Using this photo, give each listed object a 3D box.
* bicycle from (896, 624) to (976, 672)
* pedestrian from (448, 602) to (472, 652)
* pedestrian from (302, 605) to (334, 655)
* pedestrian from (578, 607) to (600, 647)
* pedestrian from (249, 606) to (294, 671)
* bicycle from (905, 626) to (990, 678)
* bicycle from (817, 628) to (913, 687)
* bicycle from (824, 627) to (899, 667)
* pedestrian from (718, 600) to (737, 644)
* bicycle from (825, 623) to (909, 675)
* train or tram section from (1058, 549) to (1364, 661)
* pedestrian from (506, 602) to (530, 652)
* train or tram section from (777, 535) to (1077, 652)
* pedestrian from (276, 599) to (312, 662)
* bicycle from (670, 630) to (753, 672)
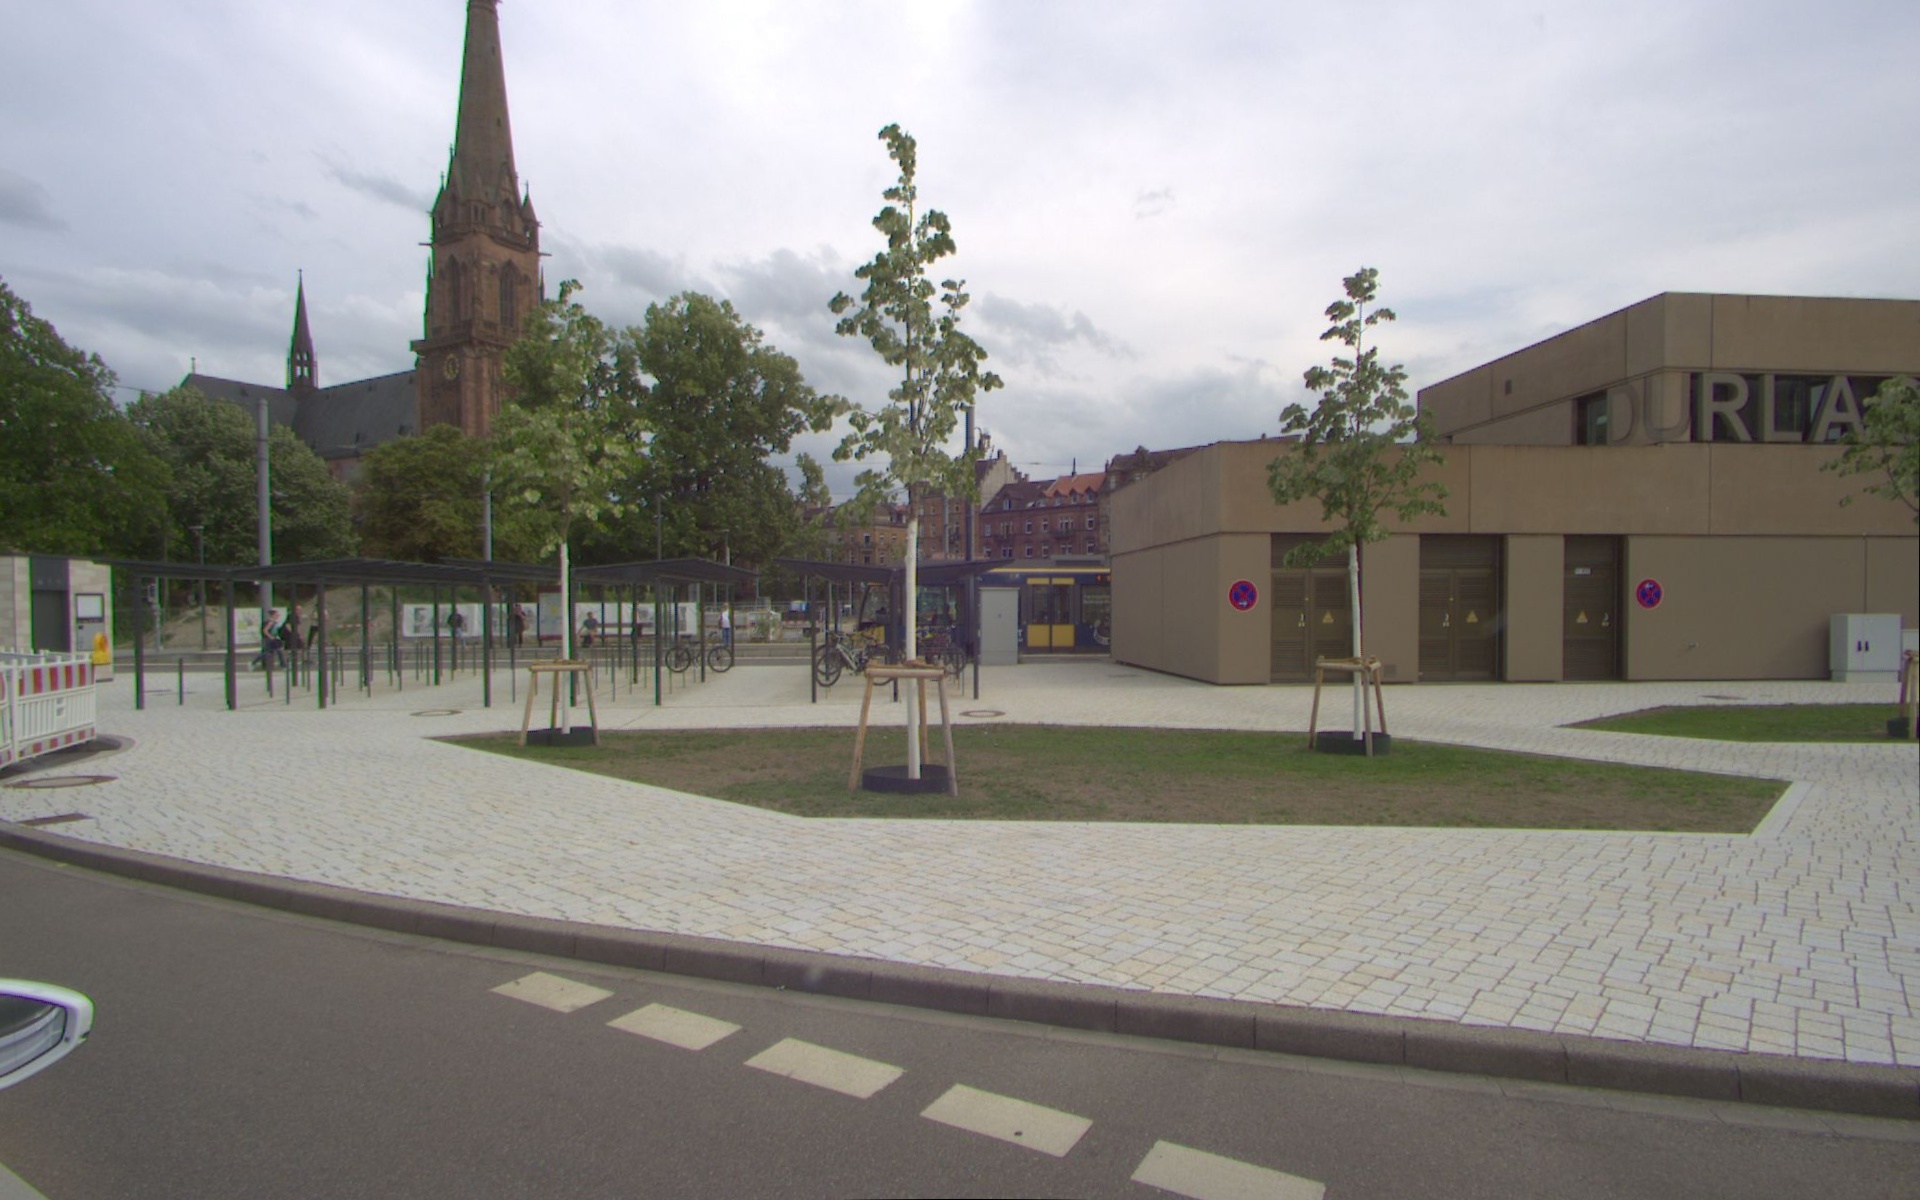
[{"bbox_3d":[-0.607,1.223,25.513,1.931,1.172,0.583,2,1,-13],"label":"bicycle"},{"bbox_3d":[-18.731,1.012,37.525,0.665,1.825,0.522,2,2,-11],"label":"pedestrian"},{"bbox_3d":[-23.960,1.116,37.386,0.743,1.825,0.817,3,2,42],"label":"pedestrian"},{"bbox_3d":[-14.103,1.024,38.061,0.665,1.505,0.689,2,1,-11],"label":"pedestrian"},{"bbox_3d":[-17.751,0.990,25.820,0.782,1.625,0.538,2,1,-5],"label":"pedestrian"},{"bbox_3d":[-0.304,1.249,24.090,1.931,1.172,0.583,2,1,-13],"label":"bicycle"},{"bbox_3d":[-2.016,1.220,21.248,1.931,1.172,0.583,2,1,-13],"label":"bicycle"},{"bbox_3d":[-2.593,1.239,26.421,1.929,0.983,0.583,2,1,-7],"label":"bicycle"},{"bbox_3d":[-9.159,0.868,39.465,0.665,1.701,0.709,2,1,-11],"label":"pedestrian"},{"bbox_3d":[-2.230,1.183,24.026,1.931,1.172,0.583,2,1,-13],"label":"bicycle"},{"bbox_3d":[8.127,0.168,33.211,9.248,3.256,3.061,2,1,-4],"label":"train or tram section"},{"bbox_3d":[-16.653,1.013,37.731,0.665,1.825,0.522,2,2,-11],"label":"pedestrian"},{"bbox_3d":[-1.087,-0.195,32.526,9.189,3.321,3.061,2,1,-4],"label":"train or tram section"},{"bbox_3d":[-18.115,0.826,27.262,0.618,1.677,0.531,2,1,-5],"label":"pedestrian"},{"bbox_3d":[-6.142,1.263,24.817,1.929,0.968,0.583,2,1,-7],"label":"bicycle"}]
